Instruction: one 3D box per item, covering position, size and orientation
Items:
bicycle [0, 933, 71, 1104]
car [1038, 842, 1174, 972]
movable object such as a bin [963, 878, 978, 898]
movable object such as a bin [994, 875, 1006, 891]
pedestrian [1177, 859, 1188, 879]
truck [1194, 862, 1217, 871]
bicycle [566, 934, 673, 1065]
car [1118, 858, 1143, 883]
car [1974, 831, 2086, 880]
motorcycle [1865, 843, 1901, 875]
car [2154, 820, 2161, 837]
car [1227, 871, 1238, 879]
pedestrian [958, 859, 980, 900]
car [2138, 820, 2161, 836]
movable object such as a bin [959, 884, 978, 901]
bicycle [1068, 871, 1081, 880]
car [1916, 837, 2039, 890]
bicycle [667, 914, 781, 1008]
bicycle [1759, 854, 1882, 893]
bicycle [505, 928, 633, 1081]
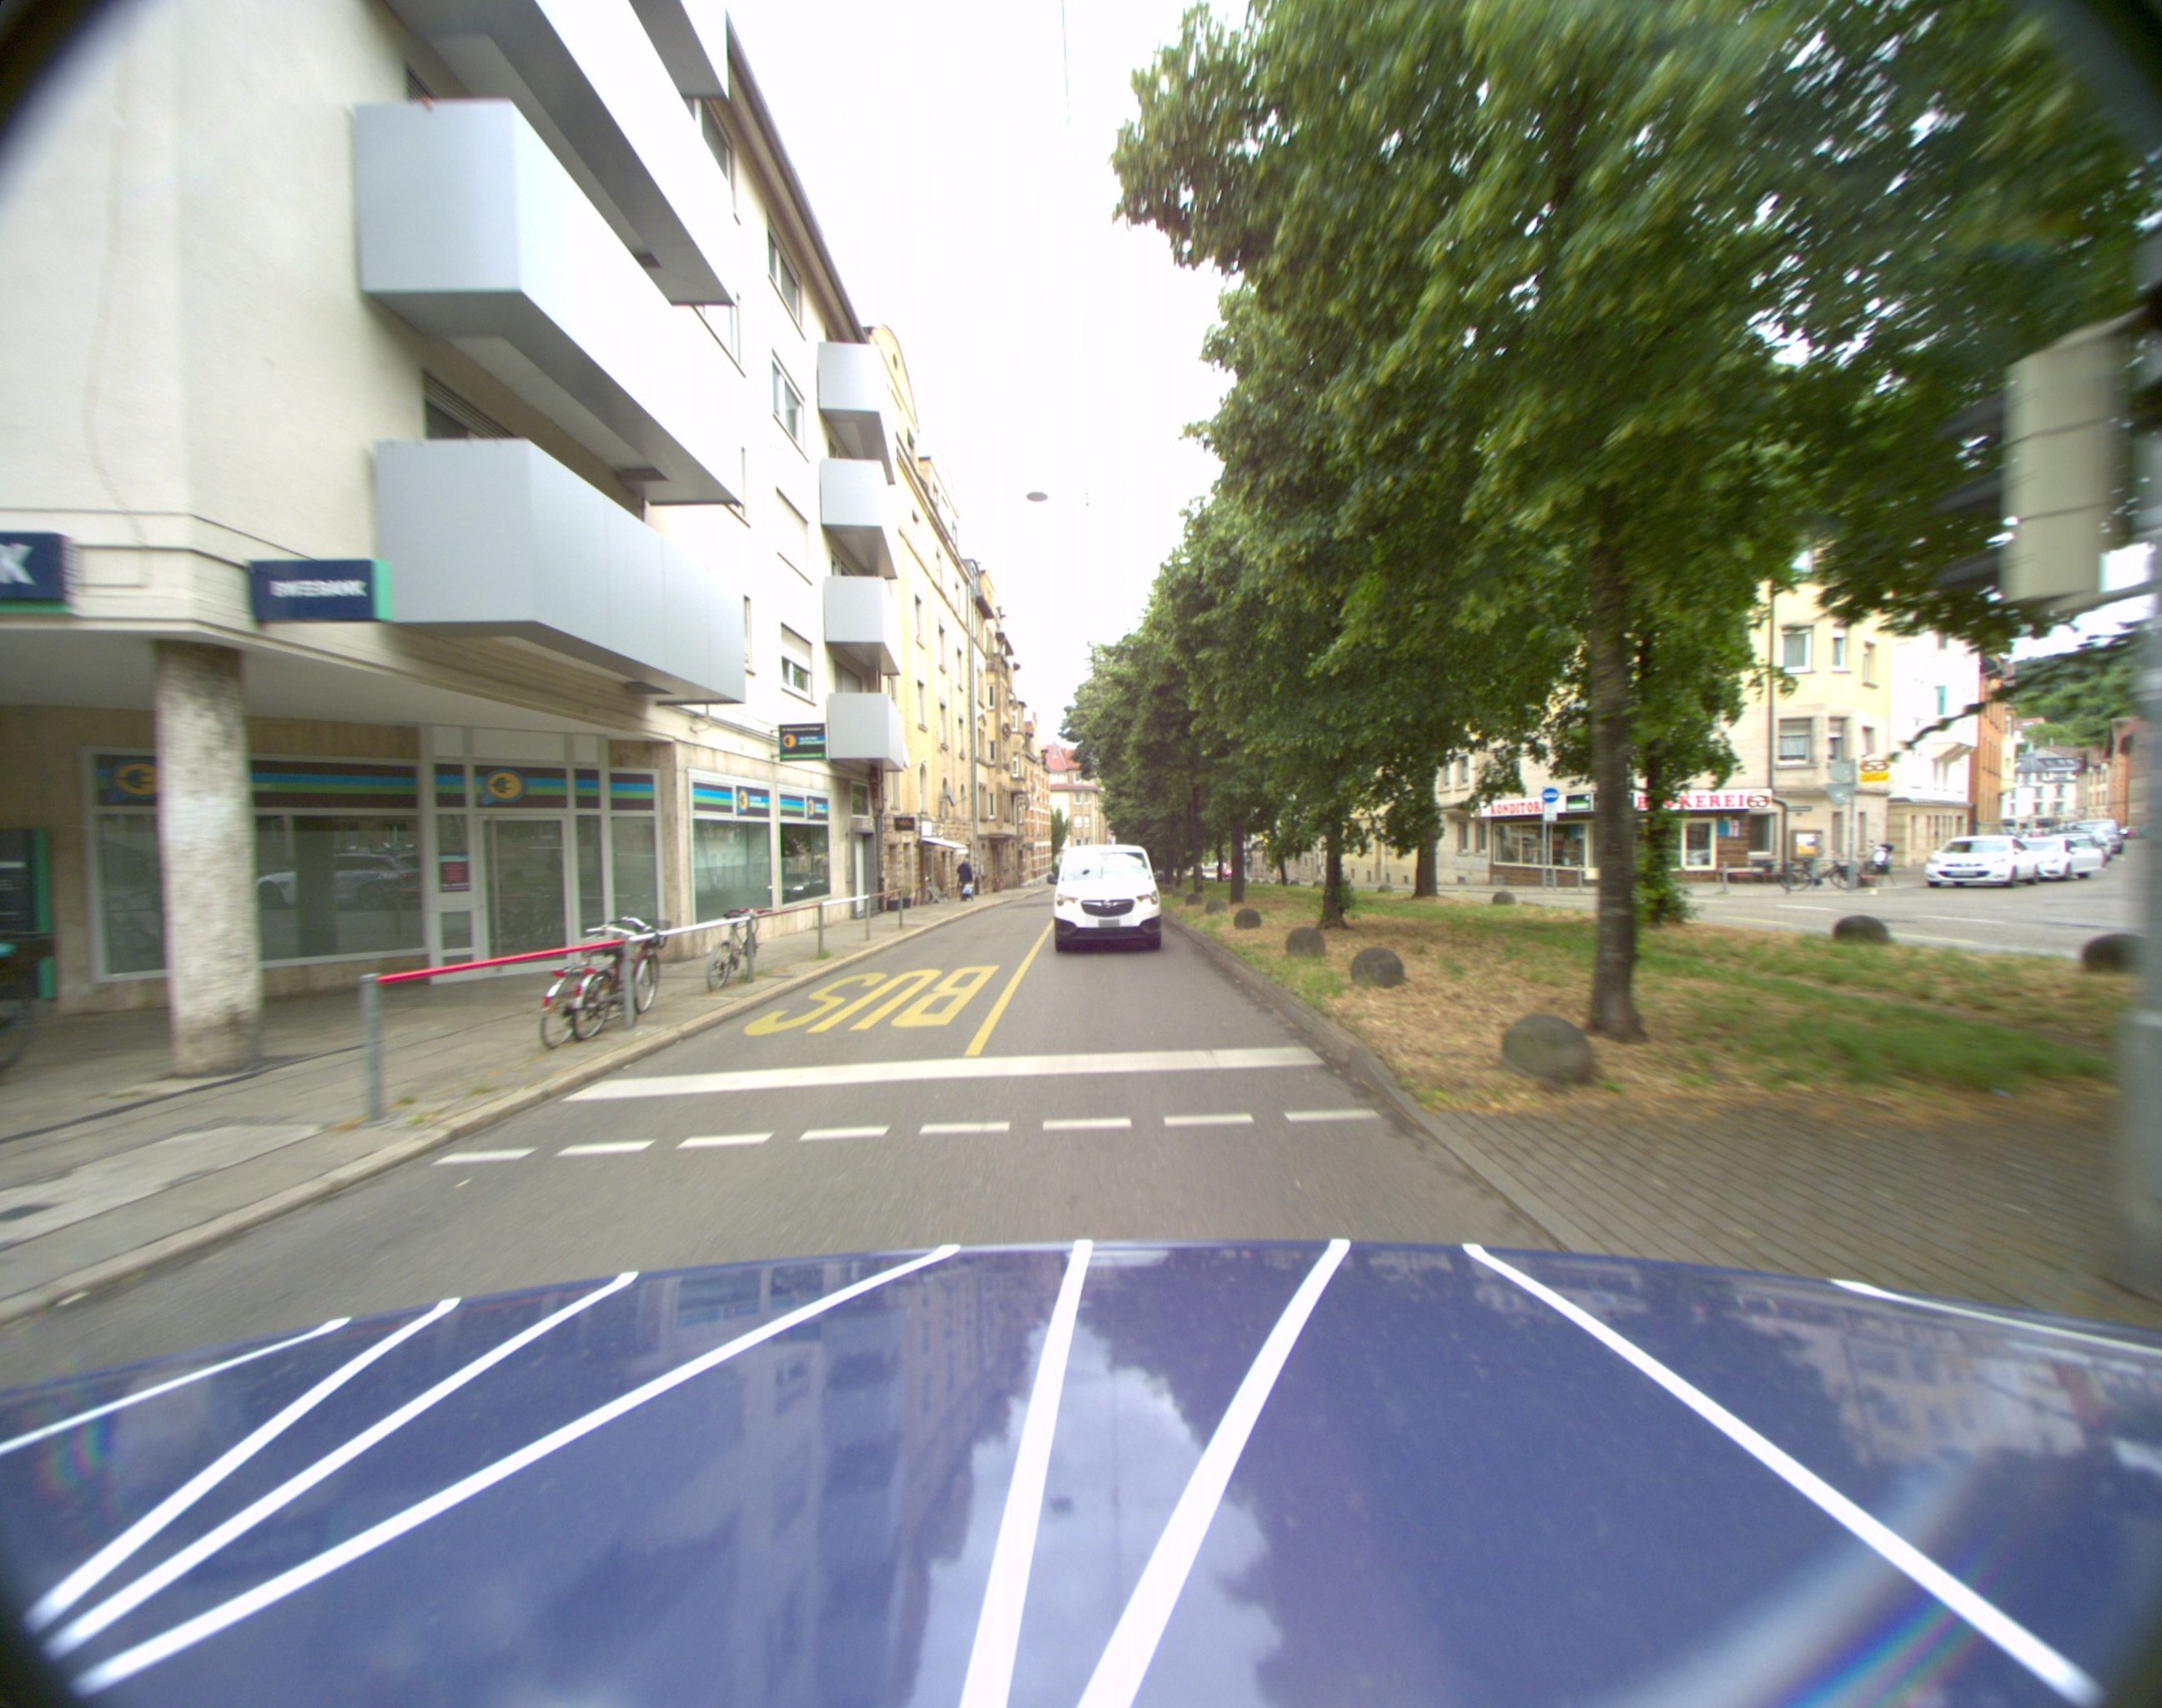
[{"bbox_3d":[-8.039,1.243,5.420,0.319,1.191,1.757,-2,1,-31],"label":"bicycle"},{"bbox_3d":[0.567,0.777,13.090,1.857,1.798,4.731,-2,-1,5],"label":"car"},{"bbox_3d":[-5.317,1.621,36.525,0.595,0.899,0.502,-2,3,3],"label":"movable object such as a bin"},{"bbox_3d":[-4.806,1.705,45.028,0.595,0.898,0.563,-2,0,3],"label":"movable object such as a bin"},{"bbox_3d":[9.244,1.366,69.196,0.835,1.702,1.123,3,2,8],"label":"pedestrian"},{"bbox_3d":[36.613,3.694,223.452,6.465,2.706,2.767,1,-1,-26],"label":"truck"},{"bbox_3d":[-4.466,1.352,7.454,0.287,0.926,1.759,-2,1,-11],"label":"bicycle"},{"bbox_3d":[4.228,1.393,64.038,1.962,1.937,3.958,-2,1,5],"label":"car"},{"bbox_3d":[31.610,0.035,25.302,3.772,1.503,1.817,0,1,-31],"label":"car"},{"bbox_3d":[31.054,0.181,29.403,2.531,1.149,0.528,-2,1,-33],"label":"motorcycle"},{"bbox_3d":[98.789,-2.274,68.731,3.907,1.470,1.950,0,0,-34],"label":"car"},{"bbox_3d":[27.103,3.690,135.817,1.761,1.374,4.673,1,-2,9],"label":"car"},{"bbox_3d":[-4.727,1.080,32.196,0.753,1.682,0.859,1,-1,3],"label":"pedestrian"},{"bbox_3d":[105.576,-2.536,74.652,3.907,1.470,1.950,0,0,-34],"label":"car"},{"bbox_3d":[-4.636,1.571,31.323,0.609,0.664,0.859,1,-1,3],"label":"movable object such as a bin"},{"bbox_3d":[-0.924,3.060,108.083,0.642,1.134,2.069,-4,5,-36],"label":"bicycle"},{"bbox_3d":[27.345,0.265,23.159,3.772,1.503,1.817,0,1,-31],"label":"car"},{"bbox_3d":[-4.543,1.328,9.818,0.570,0.926,1.775,-2,1,1],"label":"bicycle"},{"bbox_3d":[21.816,0.596,22.491,2.453,1.040,0.869,-3,0,29],"label":"bicycle"},{"bbox_3d":[-4.653,1.301,7.014,0.287,1.048,1.759,-2,1,-11],"label":"bicycle"}]
